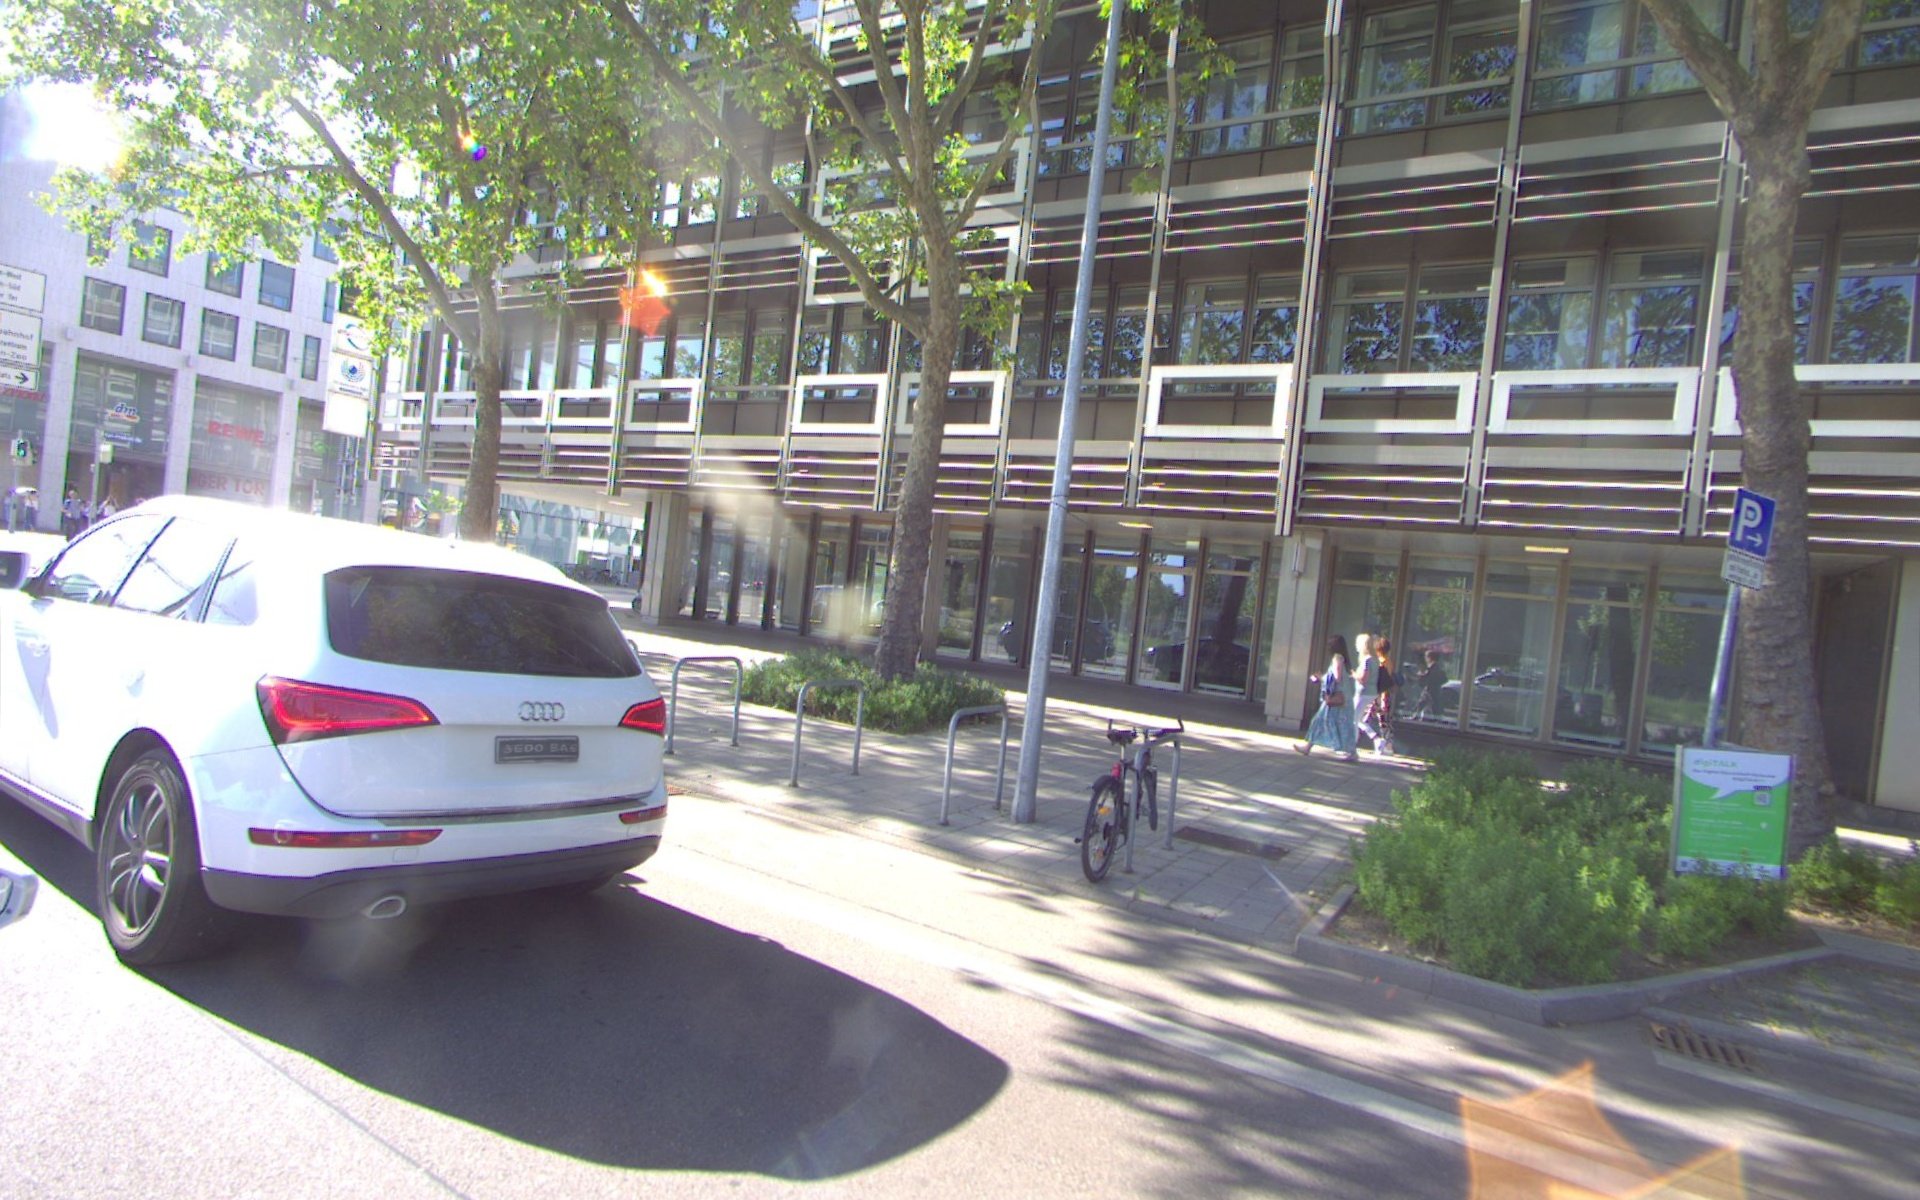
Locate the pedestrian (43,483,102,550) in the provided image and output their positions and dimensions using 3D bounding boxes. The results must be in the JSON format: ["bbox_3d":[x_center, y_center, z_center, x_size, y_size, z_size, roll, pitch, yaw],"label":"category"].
[{"bbox_3d":[-29.856,-2.806,33.855,1.059,2.038,0.949,7,0,20],"label":"pedestrian"}]

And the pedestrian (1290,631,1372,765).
[{"bbox_3d":[4.846,1.257,13.133,0.716,1.622,0.666,7,3,32],"label":"pedestrian"}]

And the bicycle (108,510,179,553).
[{"bbox_3d":[-23.271,-1.946,28.669,2.017,0.997,0.882,7,0,31],"label":"bicycle"}]

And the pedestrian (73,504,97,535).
[{"bbox_3d":[-50.720,-4.666,58.317,0.737,1.628,0.556,7,1,-5],"label":"pedestrian"}]

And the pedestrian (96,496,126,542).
[{"bbox_3d":[-32.271,-3.073,38.238,0.517,1.634,0.661,6,2,22],"label":"pedestrian"}]

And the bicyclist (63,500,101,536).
[{"bbox_3d":[-40.551,-3.781,46.456,1.055,1.494,1.022,7,1,35],"label":"bicyclist"}]

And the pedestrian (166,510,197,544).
[{"bbox_3d":[-43.404,-4.073,56.083,0.846,1.705,0.978,7,1,29],"label":"pedestrian"}]

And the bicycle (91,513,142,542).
[{"bbox_3d":[-42.039,-3.617,50.102,2.943,1.107,1.067,6,0,33],"label":"bicycle"}]

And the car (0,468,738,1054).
[{"bbox_3d":[-3.372,0.361,4.840,4.340,1.633,1.822,7,0,32],"label":"car"}]

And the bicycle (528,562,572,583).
[{"bbox_3d":[-28.586,-1.904,70.107,3.441,1.107,1.067,6,0,34],"label":"bicycle"}]

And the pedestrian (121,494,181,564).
[{"bbox_3d":[-25.616,-2.243,31.870,1.060,2.038,0.949,7,1,24],"label":"pedestrian"}]

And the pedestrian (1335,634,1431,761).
[{"bbox_3d":[5.975,1.347,14.207,0.992,1.622,0.666,7,3,32],"label":"pedestrian"}]

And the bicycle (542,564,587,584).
[{"bbox_3d":[-27.973,-1.843,71.109,3.441,1.107,1.067,6,0,34],"label":"bicycle"}]

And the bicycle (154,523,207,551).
[{"bbox_3d":[-40.403,-3.268,52.121,3.440,1.107,1.067,6,0,33],"label":"bicycle"}]

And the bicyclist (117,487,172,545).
[{"bbox_3d":[-23.251,-2.387,28.687,0.869,1.495,0.882,7,1,31],"label":"bicyclist"}]

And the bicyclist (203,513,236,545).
[{"bbox_3d":[-37.538,-3.599,50.996,1.024,1.451,0.933,7,1,35],"label":"bicyclist"}]

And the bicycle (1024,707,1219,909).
[{"bbox_3d":[1.163,1.321,6.858,0.699,0.973,1.846,7,2,26],"label":"bicycle"}]

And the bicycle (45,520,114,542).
[{"bbox_3d":[-40.629,-3.183,46.426,1.055,0.679,2.194,6,0,34],"label":"bicycle"}]

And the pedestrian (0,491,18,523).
[{"bbox_3d":[-50.757,-4.954,53.510,0.547,1.628,0.748,8,1,30],"label":"pedestrian"}]

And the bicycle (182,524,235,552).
[{"bbox_3d":[-39.680,-3.279,53.084,3.440,1.107,1.067,6,0,33],"label":"bicycle"}]

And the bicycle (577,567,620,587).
[{"bbox_3d":[-26.378,-1.664,73.382,3.441,1.107,1.067,6,0,34],"label":"bicycle"}]

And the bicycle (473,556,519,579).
[{"bbox_3d":[-30.792,-2.161,66.741,3.441,1.107,1.067,6,0,34],"label":"bicycle"}]

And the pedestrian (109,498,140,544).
[{"bbox_3d":[-31.644,-2.990,38.113,0.517,1.634,0.661,6,2,22],"label":"pedestrian"}]

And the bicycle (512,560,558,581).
[{"bbox_3d":[-29.164,-2.028,69.020,3.441,1.107,1.067,6,0,34],"label":"bicycle"}]

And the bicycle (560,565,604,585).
[{"bbox_3d":[-27.052,-1.799,71.897,3.441,1.107,1.067,6,0,34],"label":"bicycle"}]

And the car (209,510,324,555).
[{"bbox_3d":[-33.762,-3.253,49.095,1.831,1.632,4.188,5,-1,33],"label":"car"}]

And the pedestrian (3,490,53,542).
[{"bbox_3d":[-35.813,-3.228,38.661,1.497,1.825,0.967,7,2,31],"label":"pedestrian"}]

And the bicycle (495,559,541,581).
[{"bbox_3d":[-29.943,-2.057,68.091,3.441,1.107,1.067,6,0,34],"label":"bicycle"}]

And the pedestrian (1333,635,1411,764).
[{"bbox_3d":[5.587,1.322,13.624,0.716,1.622,0.666,7,3,32],"label":"pedestrian"}]

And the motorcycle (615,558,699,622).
[{"bbox_3d":[-7.996,-0.272,26.552,2.087,1.459,0.824,7,1,32],"label":"motorcycle"}]
